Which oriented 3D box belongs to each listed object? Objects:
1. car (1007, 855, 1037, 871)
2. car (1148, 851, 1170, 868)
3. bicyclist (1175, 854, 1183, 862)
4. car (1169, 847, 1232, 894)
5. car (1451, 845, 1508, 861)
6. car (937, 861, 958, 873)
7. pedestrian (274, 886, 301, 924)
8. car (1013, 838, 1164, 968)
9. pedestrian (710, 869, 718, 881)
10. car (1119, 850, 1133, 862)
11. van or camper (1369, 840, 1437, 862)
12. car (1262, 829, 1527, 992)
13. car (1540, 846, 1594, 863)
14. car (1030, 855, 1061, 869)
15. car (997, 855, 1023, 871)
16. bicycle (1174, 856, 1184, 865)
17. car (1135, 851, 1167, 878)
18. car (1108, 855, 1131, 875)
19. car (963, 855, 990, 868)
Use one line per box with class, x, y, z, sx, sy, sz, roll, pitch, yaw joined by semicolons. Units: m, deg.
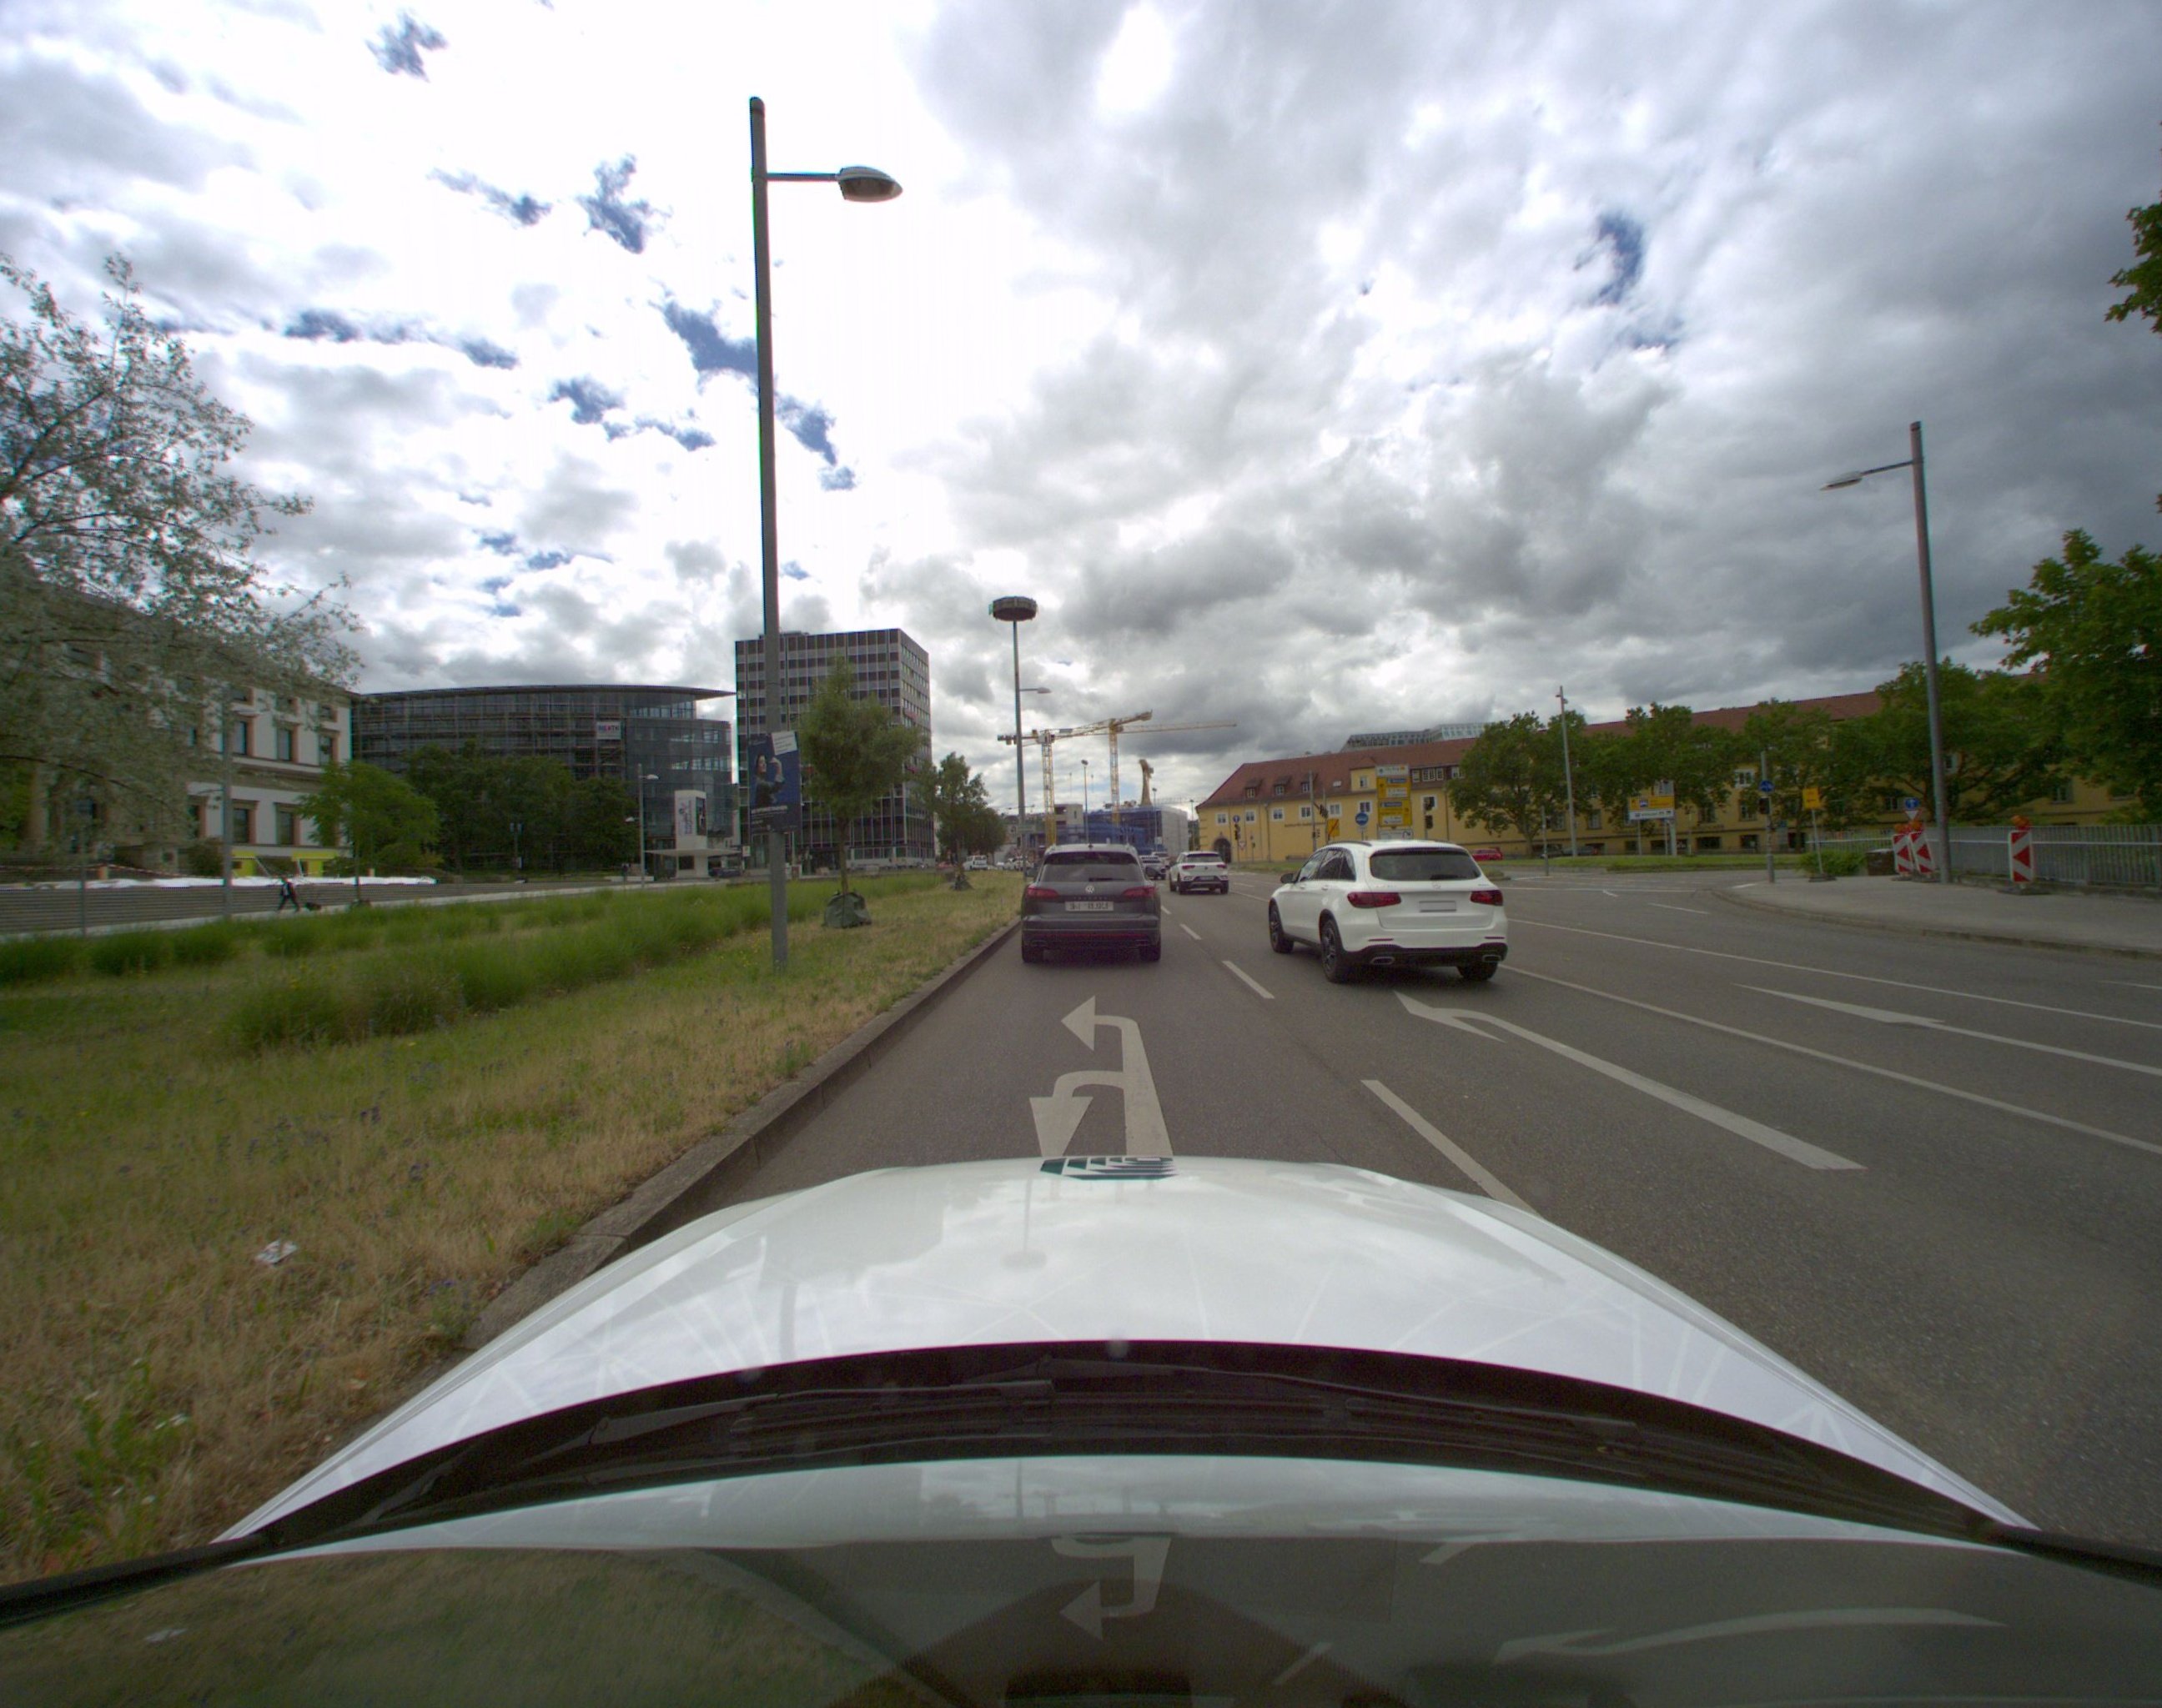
car;-5.788;0.871;79.540;1.821;1.496;3.879;-1;0;-21
car;7.343;0.484;76.657;1.796;1.502;3.983;-1;0;2
bicyclist;13.339;0.571;111.085;0.921;1.159;0.724;-1;0;-3
car;4.393;0.568;30.498;1.886;1.585;3.802;-1;0;2
car;37.879;-0.062;77.418;4.632;1.420;1.607;-2;-1;33
car;-18.456;1.770;112.316;1.728;1.502;3.947;-1;0;-26
pedestrian;-35.371;2.265;36.301;0.522;1.649;0.650;-1;-1;0
car;0.153;0.621;12.578;1.926;1.647;4.001;-1;0;1
pedestrian;-34.577;1.971;76.790;0.473;1.081;0.560;-1;0;3
car;5.582;0.224;100.978;1.712;1.502;3.984;-1;0;3
van or camper;32.165;-0.304;81.484;5.946;2.014;2.032;-2;-1;37
car;3.735;0.570;10.639;1.812;1.647;4.379;-1;0;1
car;43.883;0.041;73.547;4.037;1.413;1.670;-2;-1;33
car;-3.724;0.835;85.141;1.651;1.396;3.560;-1;0;-32
car;-8.819;1.083;101.079;1.903;1.610;3.969;-4;6;-24
bicycle;13.343;0.911;111.089;0.921;1.159;2.462;-1;0;-3
car;4.071;0.596;47.992;1.712;1.502;4.147;-1;0;3
car;3.159;0.864;66.720;1.711;1.502;3.985;-2;0;4
car;-13.119;0.936;101.938;2.254;1.502;4.576;-1;0;-23
